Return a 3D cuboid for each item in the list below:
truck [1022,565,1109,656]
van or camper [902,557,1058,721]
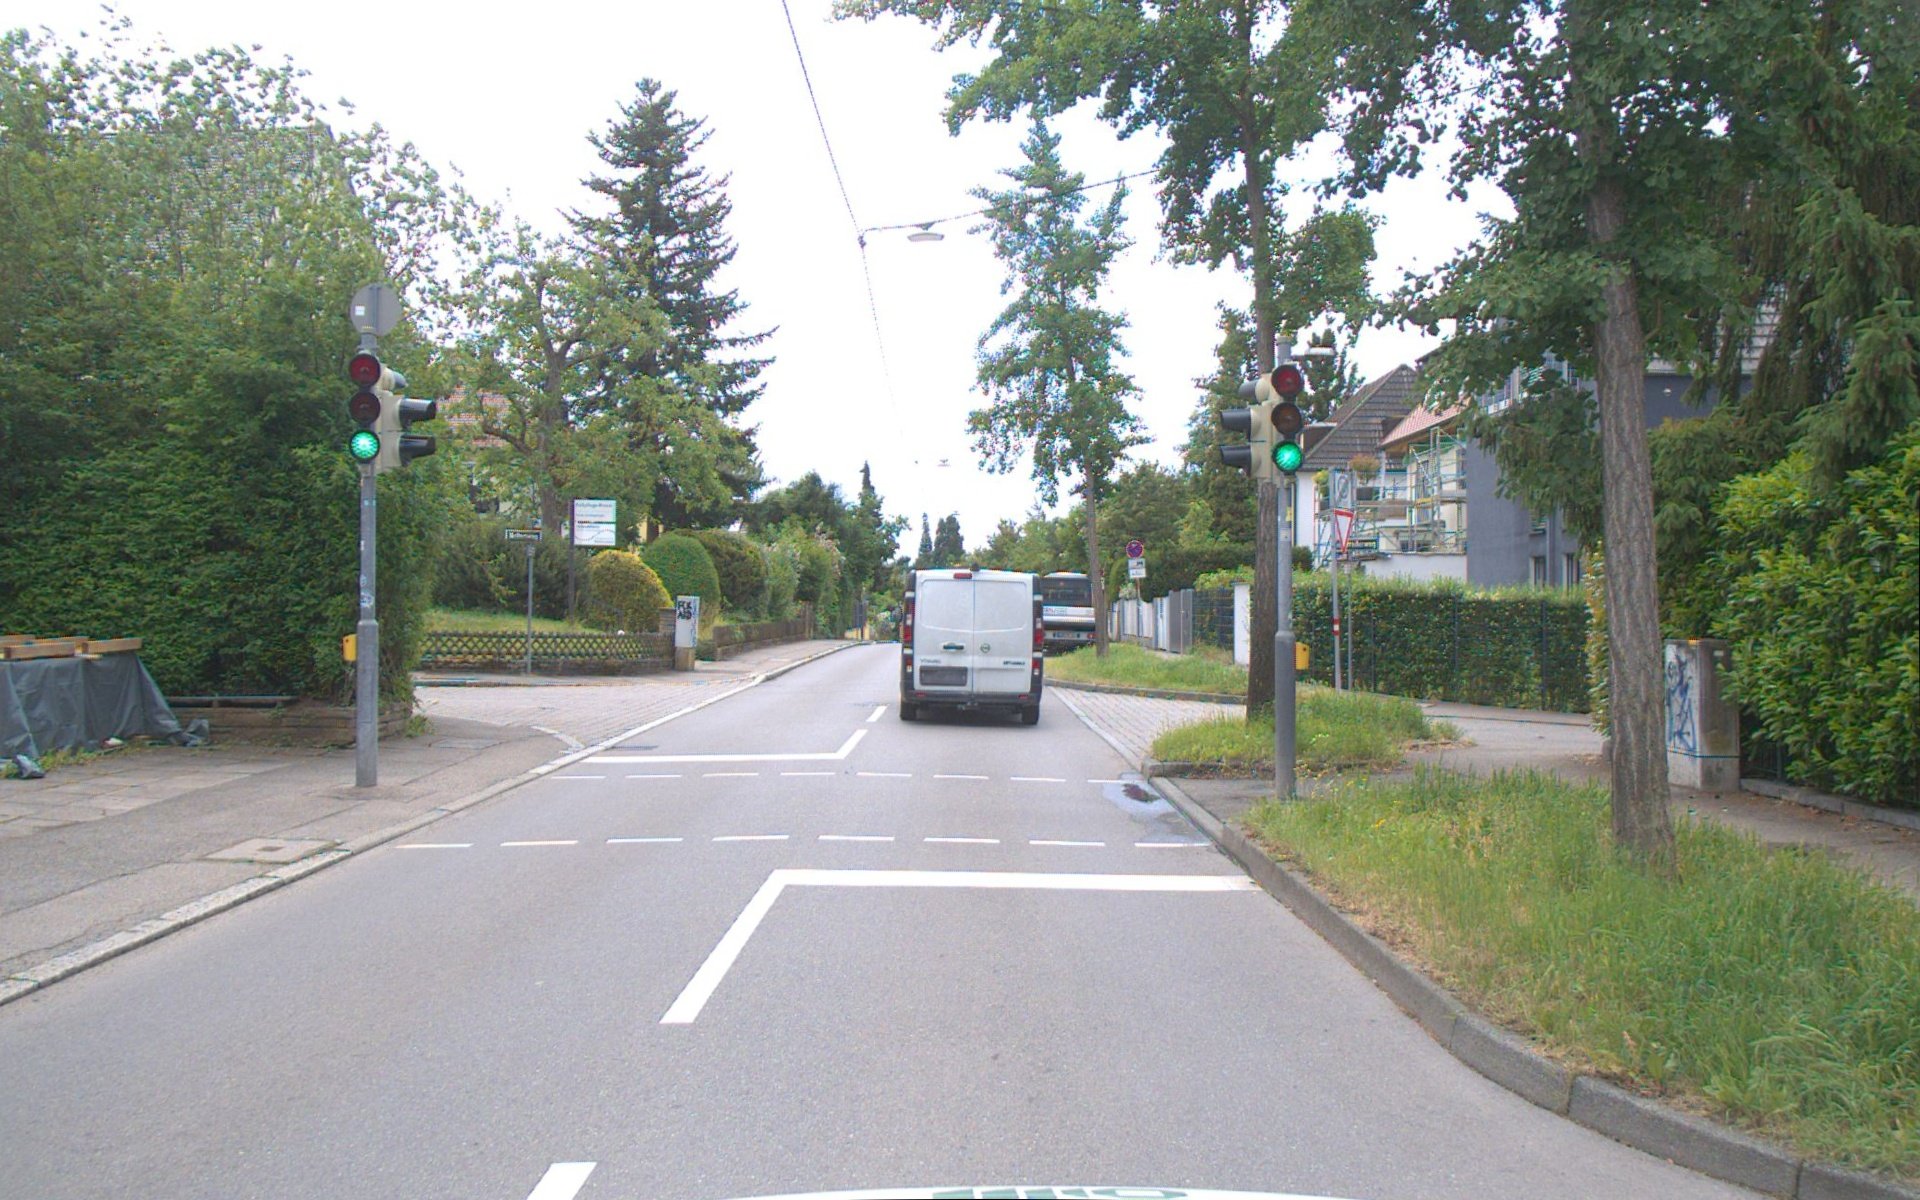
[{"bbox_3d":[3.096,0.299,50.122,2.142,2.515,7.430,1,0,0],"label":"truck"},{"bbox_3d":[0.227,0.540,22.804,1.900,1.988,4.764,1,-1,-1],"label":"van or camper"}]
